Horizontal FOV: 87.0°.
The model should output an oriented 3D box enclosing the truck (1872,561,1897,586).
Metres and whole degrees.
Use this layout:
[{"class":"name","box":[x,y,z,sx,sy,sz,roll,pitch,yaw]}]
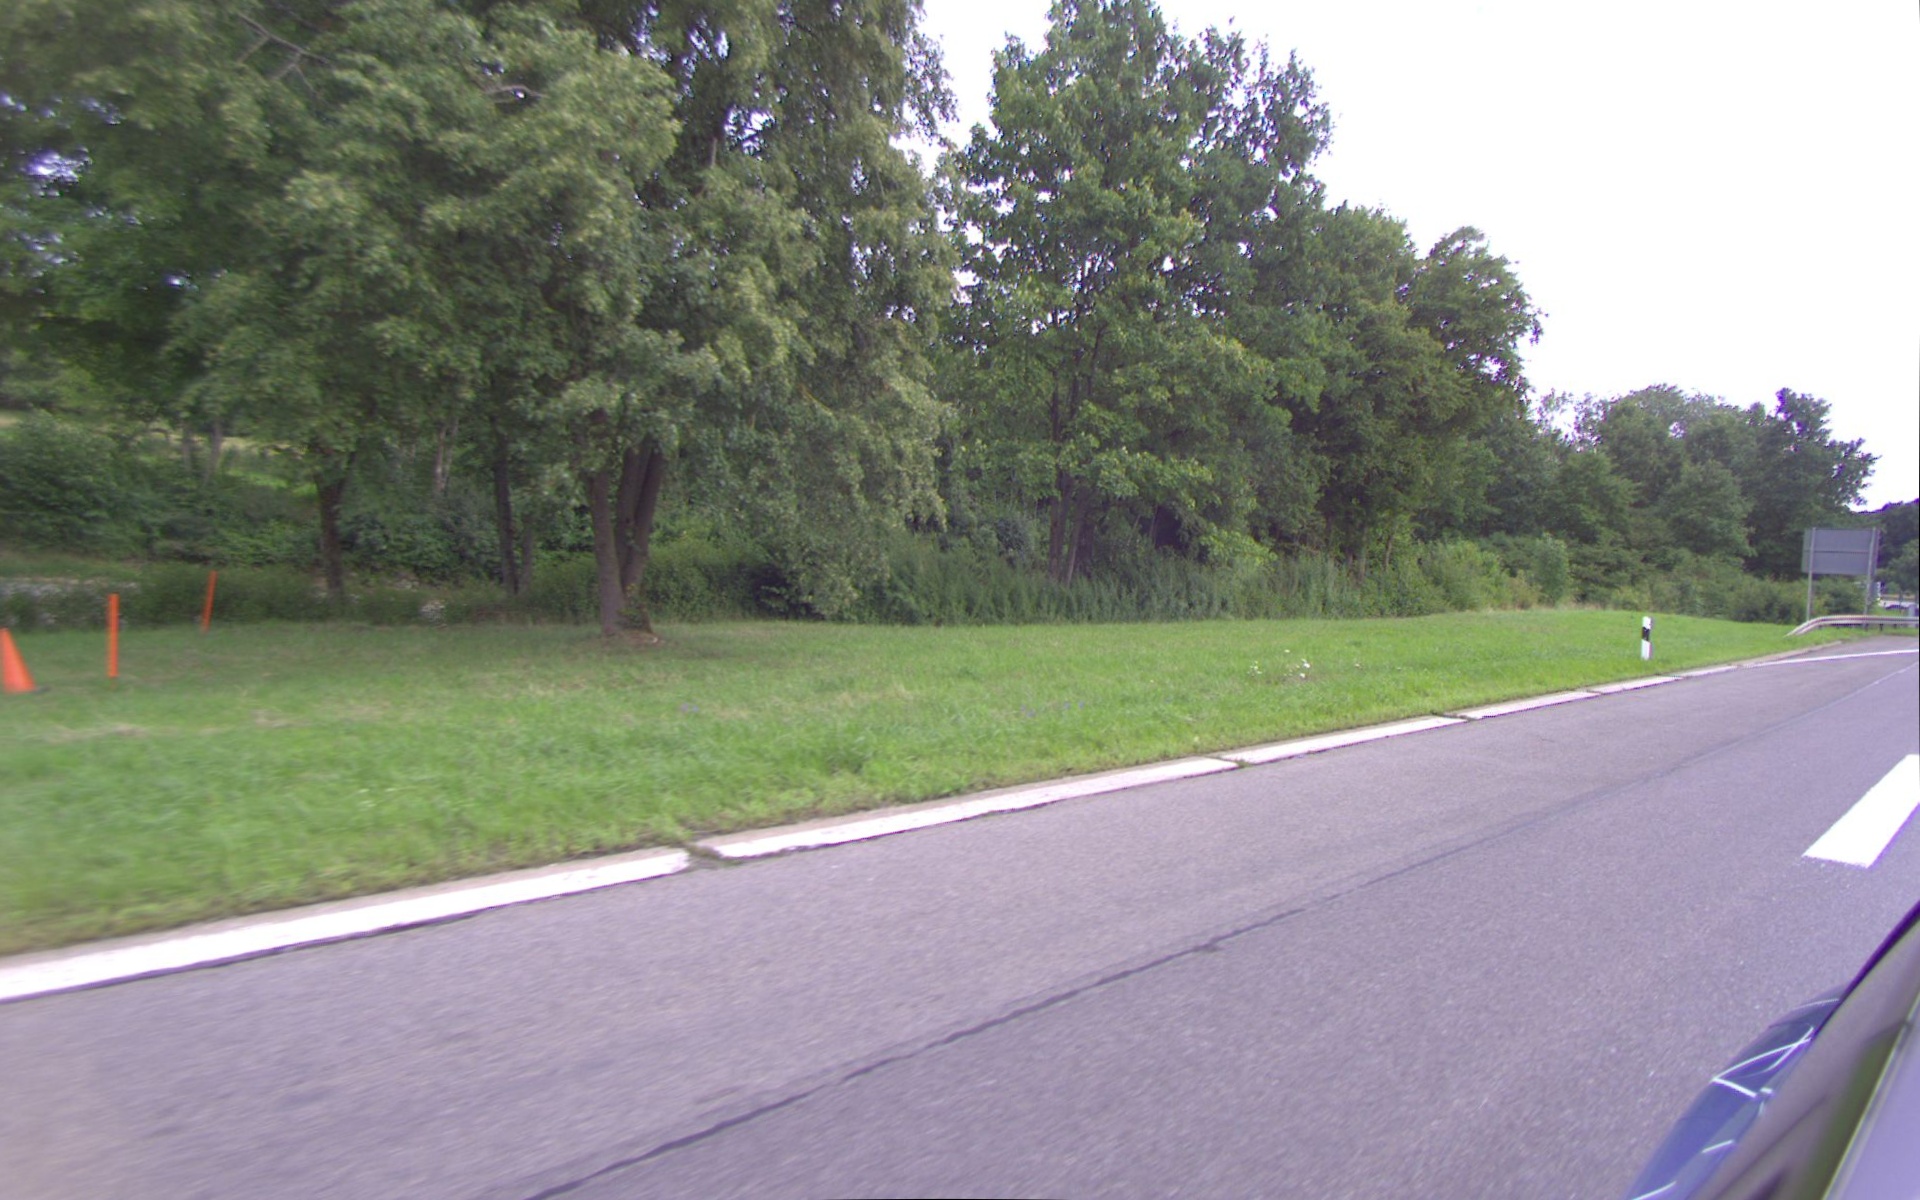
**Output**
[{"class":"truck","box":[152.115,-4.305,166.635,2.786,4.020,5.853,2,2,41]}]
